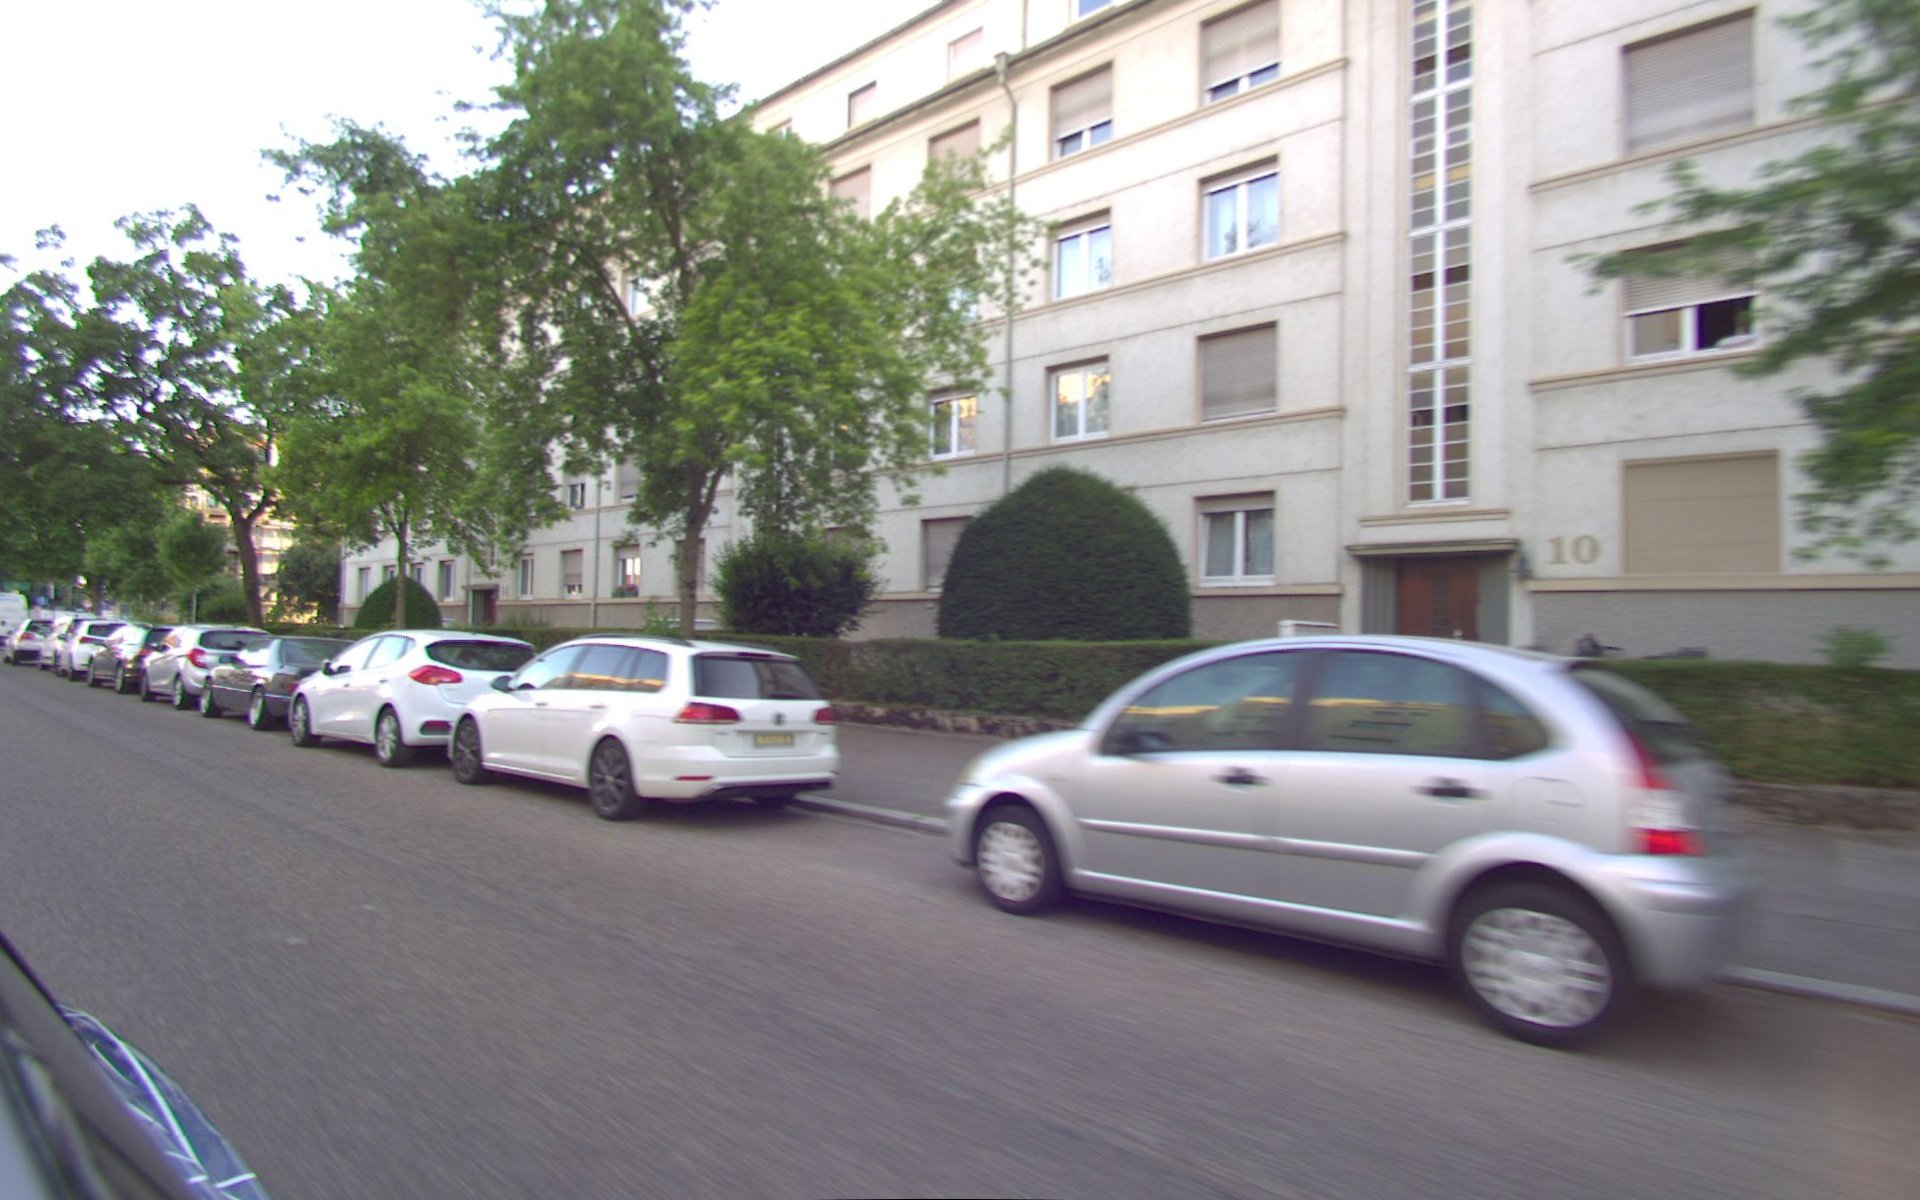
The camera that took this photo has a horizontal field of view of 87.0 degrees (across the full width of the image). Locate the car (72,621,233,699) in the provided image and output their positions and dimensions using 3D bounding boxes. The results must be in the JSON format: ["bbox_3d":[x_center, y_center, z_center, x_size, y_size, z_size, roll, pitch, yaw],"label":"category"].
[{"bbox_3d":[-17.622,1.265,22.012,4.674,1.491,1.735,-1,-6,40],"label":"car"}]

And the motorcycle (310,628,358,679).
[{"bbox_3d":[-16.928,1.433,27.354,1.828,1.335,0.580,-1,-3,42],"label":"motorcycle"}]

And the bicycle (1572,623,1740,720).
[{"bbox_3d":[9.475,0.941,13.829,1.817,1.240,0.550,-1,-3,44],"label":"bicycle"}]

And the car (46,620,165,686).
[{"bbox_3d":[-21.691,1.320,25.635,3.944,1.491,1.733,-1,-6,43],"label":"car"}]

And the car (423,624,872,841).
[{"bbox_3d":[-2.979,1.019,9.090,4.481,1.471,1.674,-1,-6,41],"label":"car"}]

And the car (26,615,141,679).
[{"bbox_3d":[-24.992,1.319,28.807,4.104,1.644,1.734,-1,-6,40],"label":"car"}]

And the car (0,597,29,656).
[{"bbox_3d":[-43.566,1.143,45.184,6.100,2.480,2.156,-1,-6,41],"label":"car"}]

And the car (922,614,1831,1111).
[{"bbox_3d":[1.760,0.894,4.982,3.797,1.516,1.573,-1,-6,41],"label":"car"}]

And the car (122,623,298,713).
[{"bbox_3d":[-13.927,1.232,18.738,3.701,1.471,1.658,-1,-6,39],"label":"car"}]

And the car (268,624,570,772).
[{"bbox_3d":[-6.604,1.094,12.182,4.141,1.471,1.675,-1,-6,40],"label":"car"}]

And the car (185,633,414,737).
[{"bbox_3d":[-10.266,1.252,15.586,4.577,1.342,1.657,-1,-6,41],"label":"car"}]

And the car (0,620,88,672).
[{"bbox_3d":[-29.201,1.432,32.122,4.223,1.483,1.733,-1,-6,43],"label":"car"}]
